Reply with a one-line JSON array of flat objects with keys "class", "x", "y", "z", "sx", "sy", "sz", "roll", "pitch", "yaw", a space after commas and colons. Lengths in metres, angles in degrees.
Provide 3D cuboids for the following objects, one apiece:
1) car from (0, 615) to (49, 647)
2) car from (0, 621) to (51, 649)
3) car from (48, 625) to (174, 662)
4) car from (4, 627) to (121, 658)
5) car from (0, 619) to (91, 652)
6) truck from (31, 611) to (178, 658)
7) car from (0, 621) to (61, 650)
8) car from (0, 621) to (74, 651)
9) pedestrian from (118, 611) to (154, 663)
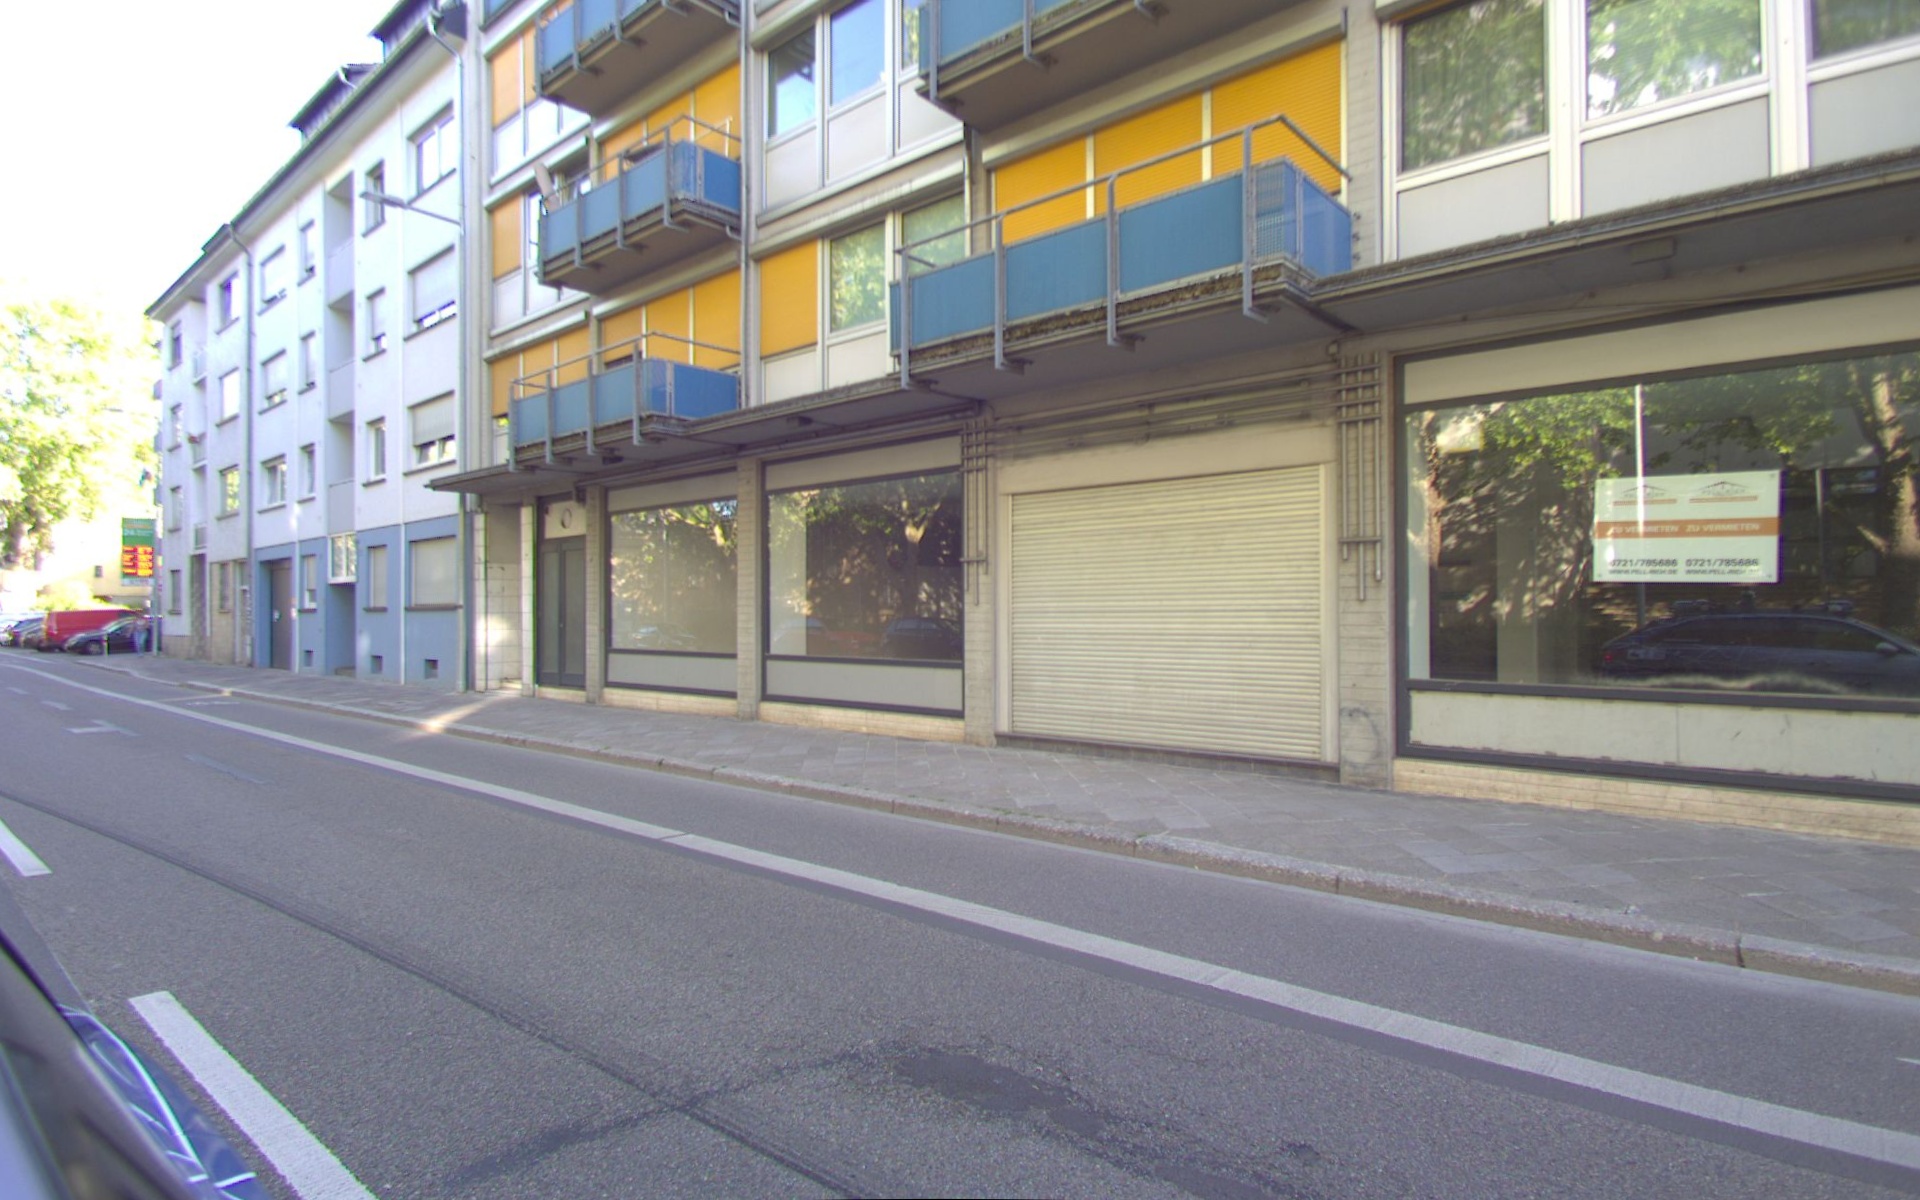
[{"class": "car", "x": -59.756, "y": 1.947, "z": 63.834, "sx": 1.693, "sy": 1.953, "sz": 3.224, "roll": -1, "pitch": 0, "yaw": 43}, {"class": "car", "x": -56.885, "y": 2.102, "z": 60.393, "sx": 1.740, "sy": 1.600, "sz": 3.685, "roll": -1, "pitch": 0, "yaw": 35}, {"class": "car", "x": -36.768, "y": 1.846, "z": 43.898, "sx": 1.780, "sy": 1.404, "sz": 3.947, "roll": -1, "pitch": 0, "yaw": 39}, {"class": "car", "x": -43.192, "y": 2.026, "z": 48.747, "sx": 1.904, "sy": 1.282, "sz": 3.983, "roll": -1, "pitch": 0, "yaw": 39}, {"class": "car", "x": -50.820, "y": 1.939, "z": 55.968, "sx": 1.699, "sy": 1.640, "sz": 3.952, "roll": -1, "pitch": 0, "yaw": 35}, {"class": "truck", "x": -40.347, "y": 1.564, "z": 47.836, "sx": 1.998, "sy": 2.036, "sz": 5.024, "roll": -1, "pitch": 0, "yaw": 40}, {"class": "car", "x": -55.065, "y": 2.062, "z": 59.001, "sx": 1.715, "sy": 1.594, "sz": 3.660, "roll": -1, "pitch": 0, "yaw": 35}, {"class": "car", "x": -52.880, "y": 2.017, "z": 57.472, "sx": 1.656, "sy": 1.599, "sz": 3.615, "roll": -1, "pitch": 0, "yaw": 35}, {"class": "pedestrian", "x": -29.381, "y": 1.305, "z": 36.080, "sx": 0.741, "sy": 1.785, "sz": 0.884, "roll": -1, "pitch": 0, "yaw": 41}]
